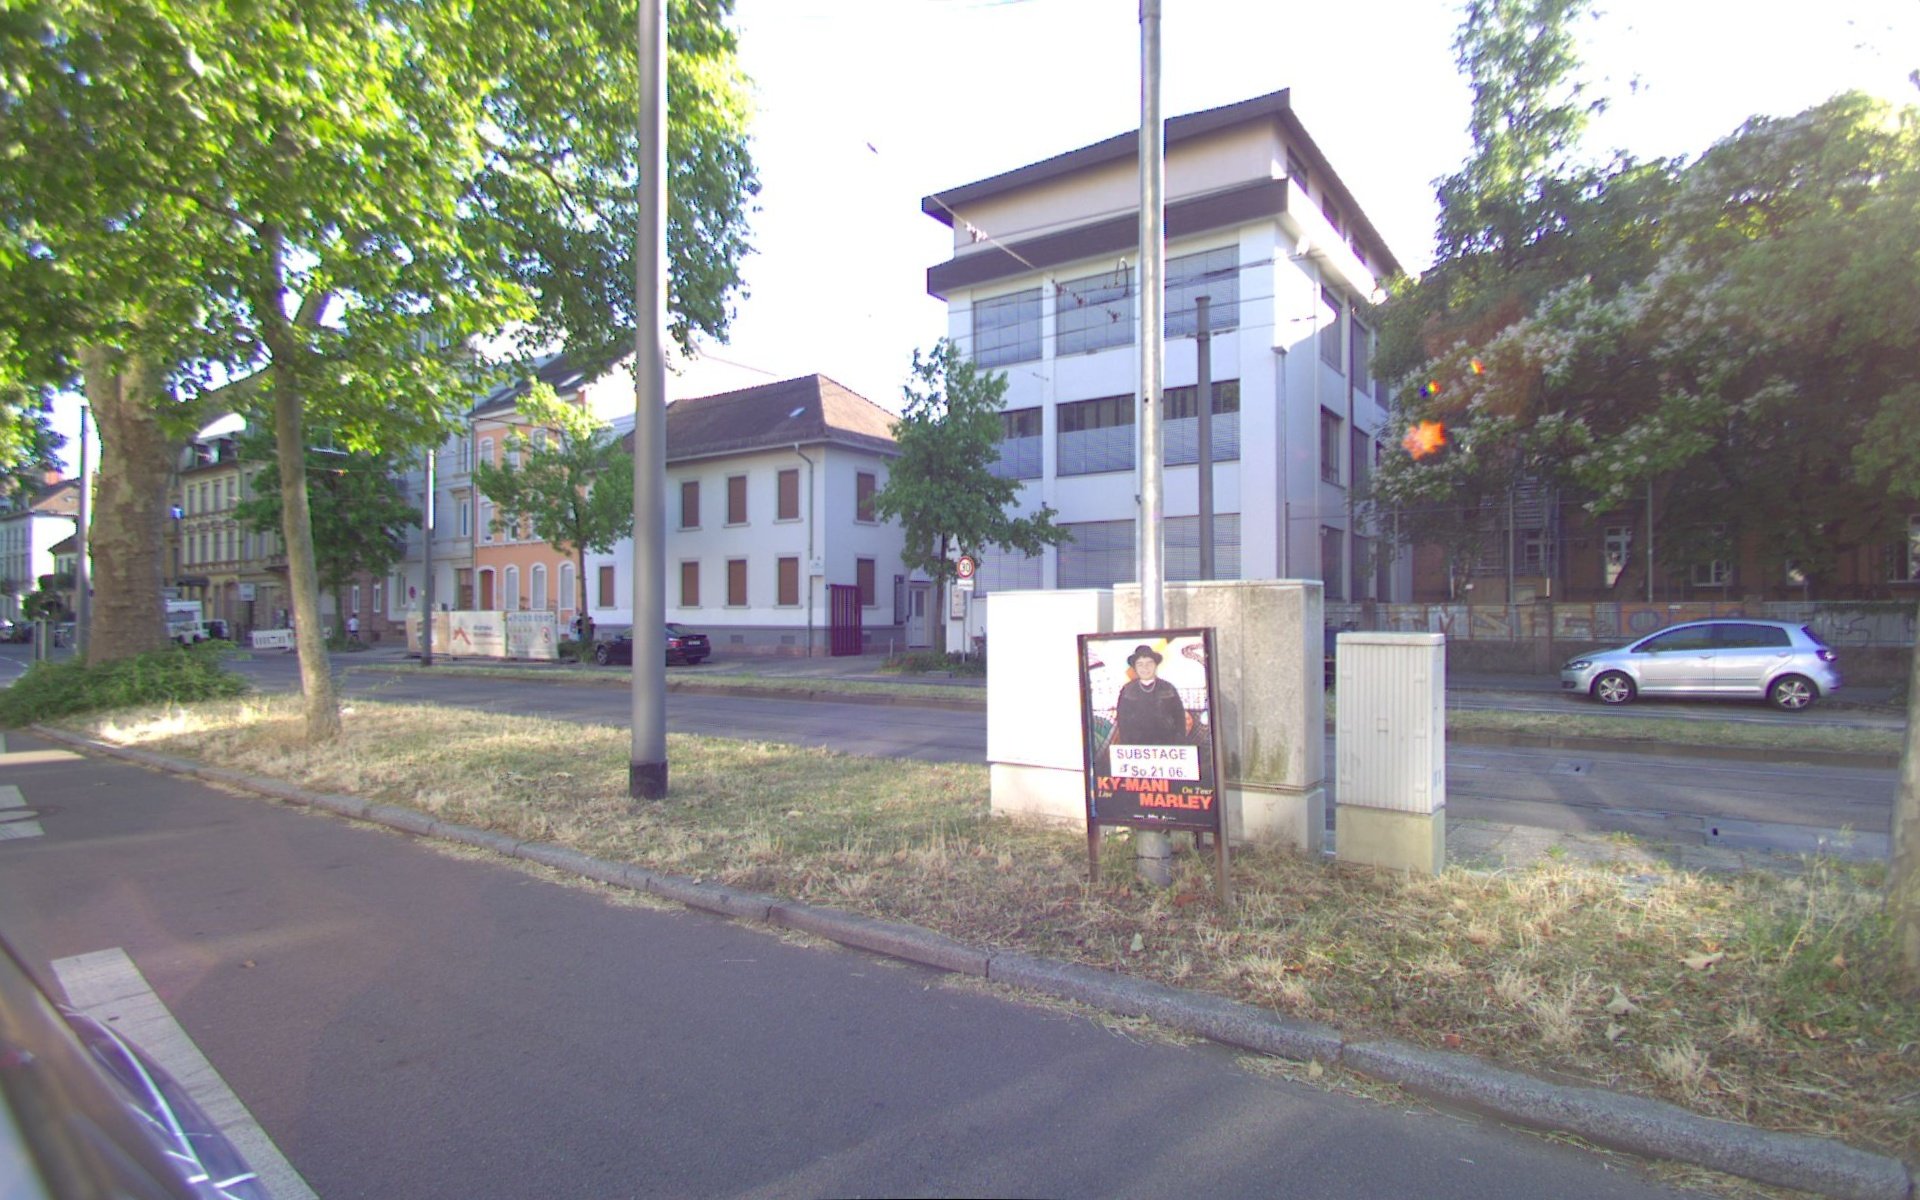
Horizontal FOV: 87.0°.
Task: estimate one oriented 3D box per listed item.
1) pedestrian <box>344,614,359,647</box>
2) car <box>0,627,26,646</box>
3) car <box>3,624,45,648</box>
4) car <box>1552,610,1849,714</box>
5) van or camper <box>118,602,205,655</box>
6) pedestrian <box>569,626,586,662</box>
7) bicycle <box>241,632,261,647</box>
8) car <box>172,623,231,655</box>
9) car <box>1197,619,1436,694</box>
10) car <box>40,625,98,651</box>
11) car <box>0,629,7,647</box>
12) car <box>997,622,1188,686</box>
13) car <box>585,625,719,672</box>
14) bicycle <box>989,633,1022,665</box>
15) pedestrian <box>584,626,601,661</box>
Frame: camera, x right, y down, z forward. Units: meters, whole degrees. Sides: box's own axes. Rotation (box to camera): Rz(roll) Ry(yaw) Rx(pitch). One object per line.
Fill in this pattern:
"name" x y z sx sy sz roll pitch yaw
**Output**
"pedestrian" -33.706 1.707 56.060 0.480 1.832 0.592 -1 -2 36
"car" -76.837 2.919 81.397 4.394 1.465 1.649 -1 1 35
"car" -73.107 2.816 79.069 3.619 1.759 1.709 -1 2 36
"car" 13.346 1.067 18.556 4.167 1.702 1.977 -1 -2 34
"van or camper" -49.192 1.710 62.271 7.238 2.969 2.397 -1 2 37
"pedestrian" -15.661 1.800 41.446 0.470 1.428 0.453 -1 -2 30
"bicycle" -44.896 2.481 64.088 1.789 0.931 0.573 -1 -2 38
"car" -43.949 2.226 58.615 3.361 1.718 1.618 -1 1 33
"car" 7.822 1.191 22.365 4.638 1.487 1.977 -1 -2 34
"car" -63.306 2.686 71.862 4.739 1.715 1.977 -1 2 35
"car" -81.246 3.198 84.532 4.460 1.502 1.569 -1 0 35
"car" 3.301 1.298 25.526 4.394 1.482 1.977 -1 -2 34
"car" -10.699 1.629 35.047 4.714 1.525 1.976 -1 -2 35
"bicycle" 1.437 1.548 31.980 1.016 1.010 0.300 -1 -2 35
"pedestrian" -15.378 1.814 42.350 0.470 1.428 0.453 -1 -2 30
